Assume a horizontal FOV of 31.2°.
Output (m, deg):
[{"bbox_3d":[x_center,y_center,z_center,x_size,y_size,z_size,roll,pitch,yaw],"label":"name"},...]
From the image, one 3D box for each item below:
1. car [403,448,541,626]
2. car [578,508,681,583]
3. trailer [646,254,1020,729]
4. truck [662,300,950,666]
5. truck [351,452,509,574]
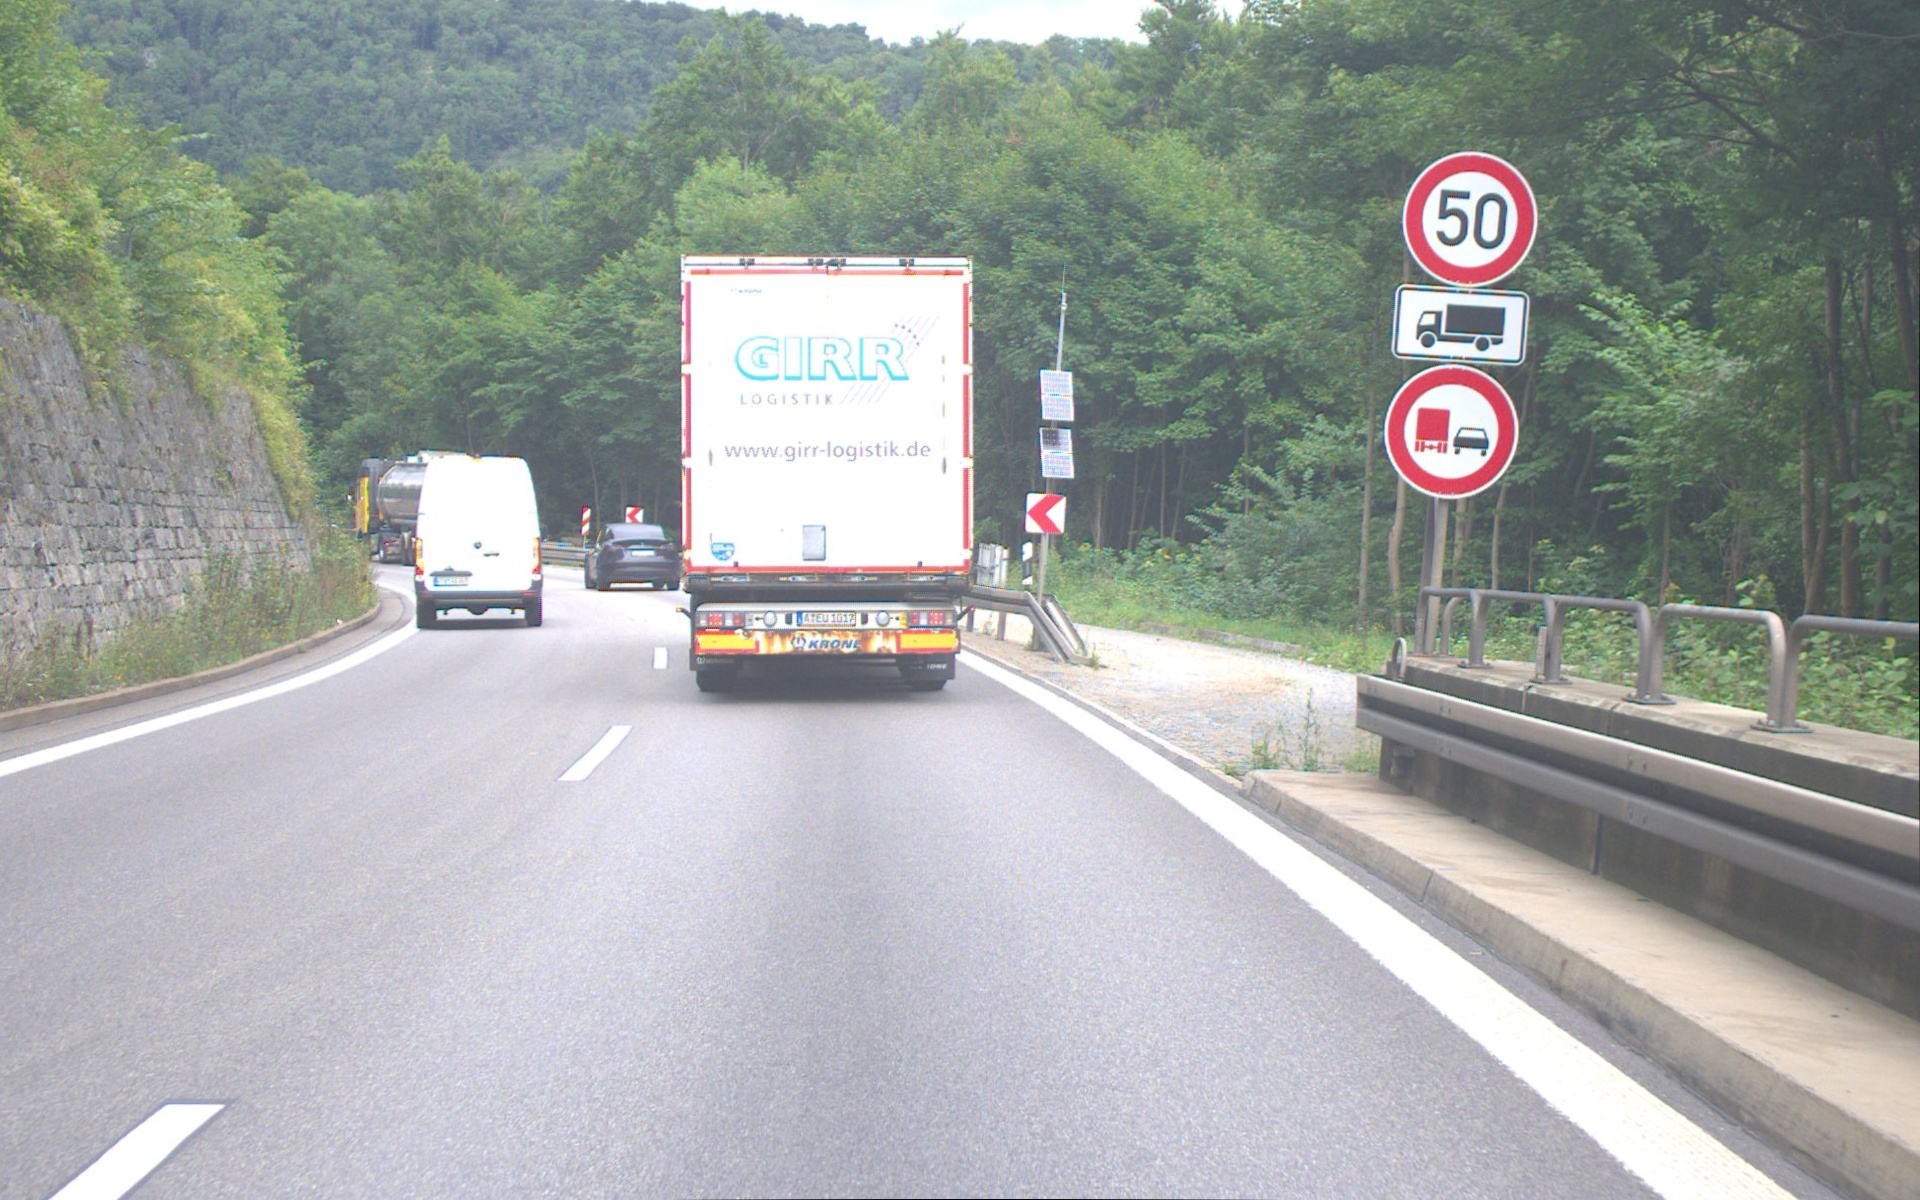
[{"bbox_3d":[-7.898,-1.049,56.135,1.988,2.663,6.938,2,1,-7],"label":"car"},{"bbox_3d":[-7.879,-1.317,81.741,1.993,1.656,4.001,2,1,-11],"label":"car"},{"bbox_3d":[-1.507,-1.201,35.780,3.057,3.972,12.139,3,2,-4],"label":"trailer"},{"bbox_3d":[-1.973,-1.468,42.178,3.057,3.972,7.189,3,2,-4],"label":"truck"},{"bbox_3d":[-18.590,-3.117,119.731,3.057,3.972,13.703,-1,2,-19],"label":"truck"}]
